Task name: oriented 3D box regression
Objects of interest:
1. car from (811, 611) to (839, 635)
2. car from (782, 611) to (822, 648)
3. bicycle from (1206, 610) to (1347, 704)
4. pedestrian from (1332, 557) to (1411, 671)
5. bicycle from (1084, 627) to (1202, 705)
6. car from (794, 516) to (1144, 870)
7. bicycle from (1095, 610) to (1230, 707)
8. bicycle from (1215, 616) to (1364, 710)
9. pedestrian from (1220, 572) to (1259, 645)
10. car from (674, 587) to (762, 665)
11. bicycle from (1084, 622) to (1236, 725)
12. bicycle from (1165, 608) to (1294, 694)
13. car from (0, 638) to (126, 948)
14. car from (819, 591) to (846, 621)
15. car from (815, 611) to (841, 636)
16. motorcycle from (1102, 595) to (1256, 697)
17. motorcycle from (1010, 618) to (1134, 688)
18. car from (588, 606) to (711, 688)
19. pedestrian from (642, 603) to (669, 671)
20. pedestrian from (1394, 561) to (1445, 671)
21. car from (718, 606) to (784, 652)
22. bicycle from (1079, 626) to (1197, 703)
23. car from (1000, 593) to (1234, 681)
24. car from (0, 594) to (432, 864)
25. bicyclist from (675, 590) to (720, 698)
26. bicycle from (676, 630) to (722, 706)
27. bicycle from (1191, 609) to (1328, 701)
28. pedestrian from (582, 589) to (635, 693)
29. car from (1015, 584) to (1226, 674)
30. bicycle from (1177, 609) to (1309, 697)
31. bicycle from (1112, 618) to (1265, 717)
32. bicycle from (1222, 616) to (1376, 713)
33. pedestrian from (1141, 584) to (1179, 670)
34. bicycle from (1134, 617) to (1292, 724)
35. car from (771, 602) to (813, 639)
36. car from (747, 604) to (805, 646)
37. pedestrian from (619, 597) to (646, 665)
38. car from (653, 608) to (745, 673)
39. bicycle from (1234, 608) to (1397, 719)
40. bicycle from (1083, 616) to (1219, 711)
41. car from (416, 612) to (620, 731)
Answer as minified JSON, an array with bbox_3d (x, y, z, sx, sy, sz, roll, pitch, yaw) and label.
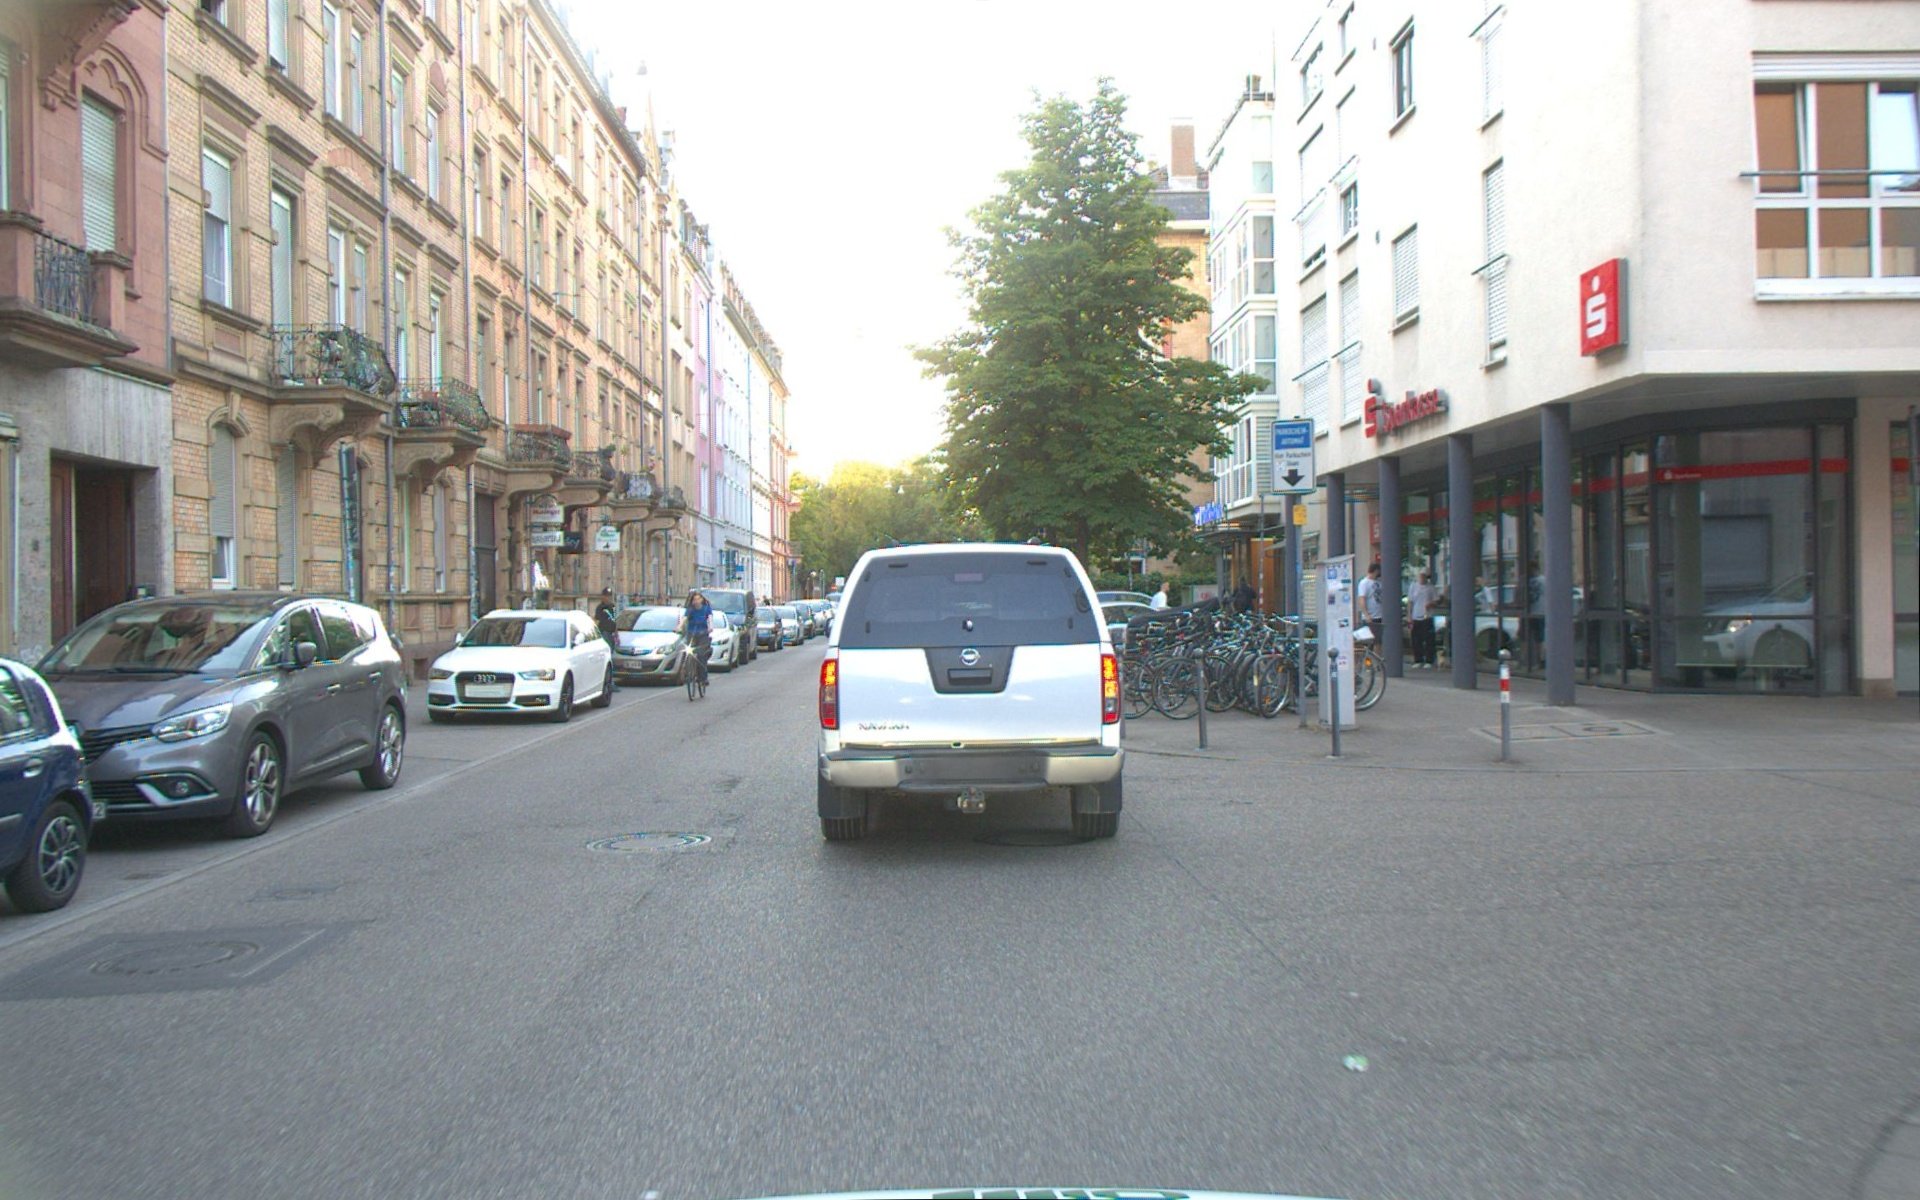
[{"bbox_3d":[-8.262,1.414,101.625,1.665,1.451,4.018,1,-1,-4],"label":"car"},{"bbox_3d":[-7.575,1.398,79.582,1.808,1.688,4.248,-1,0,-5],"label":"car"},{"bbox_3d":[4.150,0.745,21.757,1.687,1.137,0.654,-3,-1,1],"label":"bicycle"},{"bbox_3d":[6.547,0.222,26.324,0.770,1.753,0.898,-4,2,-45],"label":"pedestrian"},{"bbox_3d":[2.787,1.002,25.309,1.684,1.049,0.667,-5,-1,1],"label":"bicycle"},{"bbox_3d":[0.105,0.530,11.499,1.871,1.886,5.271,0,-1,1],"label":"car"},{"bbox_3d":[2.833,0.810,23.098,1.751,1.202,0.734,-5,-1,9],"label":"bicycle"},{"bbox_3d":[4.081,0.776,20.596,1.687,1.072,0.654,-3,-1,1],"label":"bicycle"},{"bbox_3d":[6.891,0.212,40.821,0.712,1.746,0.963,-3,-1,-2],"label":"pedestrian"},{"bbox_3d":[-6.544,0.685,45.150,1.954,1.957,4.947,1,0,-4],"label":"car"},{"bbox_3d":[2.418,0.881,20.130,1.688,1.137,0.706,-3,-1,-4],"label":"bicycle"},{"bbox_3d":[3.920,0.737,24.123,1.689,1.137,0.653,-3,-1,-5],"label":"bicycle"},{"bbox_3d":[-5.338,0.935,7.222,1.553,1.445,3.696,0,0,-1],"label":"car"},{"bbox_3d":[-8.932,0.444,115.686,1.776,2.011,4.181,1,-1,-6],"label":"car"},{"bbox_3d":[-8.561,1.508,107.542,1.665,1.579,4.018,1,-1,-4],"label":"car"},{"bbox_3d":[3.697,0.775,28.116,2.440,1.576,0.824,-3,-1,1],"label":"motorcycle"},{"bbox_3d":[1.960,0.920,28.964,2.025,1.097,0.660,-3,-1,-17],"label":"motorcycle"},{"bbox_3d":[-6.030,0.870,32.518,1.682,1.483,3.999,1,0,0],"label":"car"},{"bbox_3d":[-8.255,0.986,44.892,0.593,1.803,0.776,2,0,-6],"label":"pedestrian"},{"bbox_3d":[7.537,0.260,27.122,0.649,1.753,0.662,-1,1,25],"label":"pedestrian"},{"bbox_3d":[-6.838,0.948,54.438,1.702,1.443,4.776,1,-1,-2],"label":"car"},{"bbox_3d":[2.779,1.007,25.929,1.736,1.040,0.565,-5,-1,1],"label":"bicycle"},{"bbox_3d":[3.099,0.726,33.106,4.340,1.480,1.776,-3,0,-8],"label":"car"},{"bbox_3d":[-5.548,0.793,12.441,1.815,1.662,4.444,0,0,-2],"label":"car"},{"bbox_3d":[-4.162,0.692,26.221,0.633,1.649,0.916,-2,0,-10],"label":"bicyclist"},{"bbox_3d":[-4.148,1.047,26.208,0.633,1.100,2.163,-2,0,-10],"label":"bicycle"},{"bbox_3d":[4.030,0.737,22.323,1.687,1.137,0.654,-3,-1,1],"label":"bicycle"},{"bbox_3d":[-6.129,0.716,28.866,0.542,1.786,1.023,-1,-2,11],"label":"pedestrian"},{"bbox_3d":[3.434,0.622,35.883,4.311,1.676,1.745,-3,0,-2],"label":"car"},{"bbox_3d":[3.992,0.748,23.404,1.689,1.137,0.653,-3,-1,-5],"label":"bicycle"},{"bbox_3d":[2.876,0.842,20.935,1.773,1.137,0.706,-3,-1,-4],"label":"bicycle"},{"bbox_3d":[4.063,0.768,19.924,1.687,1.072,0.654,-3,-1,1],"label":"bicycle"},{"bbox_3d":[4.182,0.563,34.631,0.615,1.784,0.586,0,-2,-13],"label":"pedestrian"},{"bbox_3d":[2.932,0.816,19.286,1.687,1.137,0.707,-3,-1,1],"label":"bicycle"},{"bbox_3d":[-7.414,0.879,73.300,1.603,1.593,3.779,0,0,-3],"label":"car"},{"bbox_3d":[-7.044,0.955,63.572,1.797,1.483,4.205,2,-1,-1],"label":"car"},{"bbox_3d":[-8.839,0.830,44.651,0.569,1.802,0.996,2,0,-6],"label":"pedestrian"},{"bbox_3d":[-6.281,0.939,40.189,1.748,1.447,4.482,1,0,-3],"label":"car"},{"bbox_3d":[4.054,0.718,18.898,1.693,1.151,0.577,-3,-1,-14],"label":"bicycle"},{"bbox_3d":[2.751,0.915,23.936,1.830,1.202,0.743,-5,-1,3],"label":"bicycle"},{"bbox_3d":[-5.973,0.905,22.886,1.722,1.436,4.507,0,0,-2],"label":"car"}]
